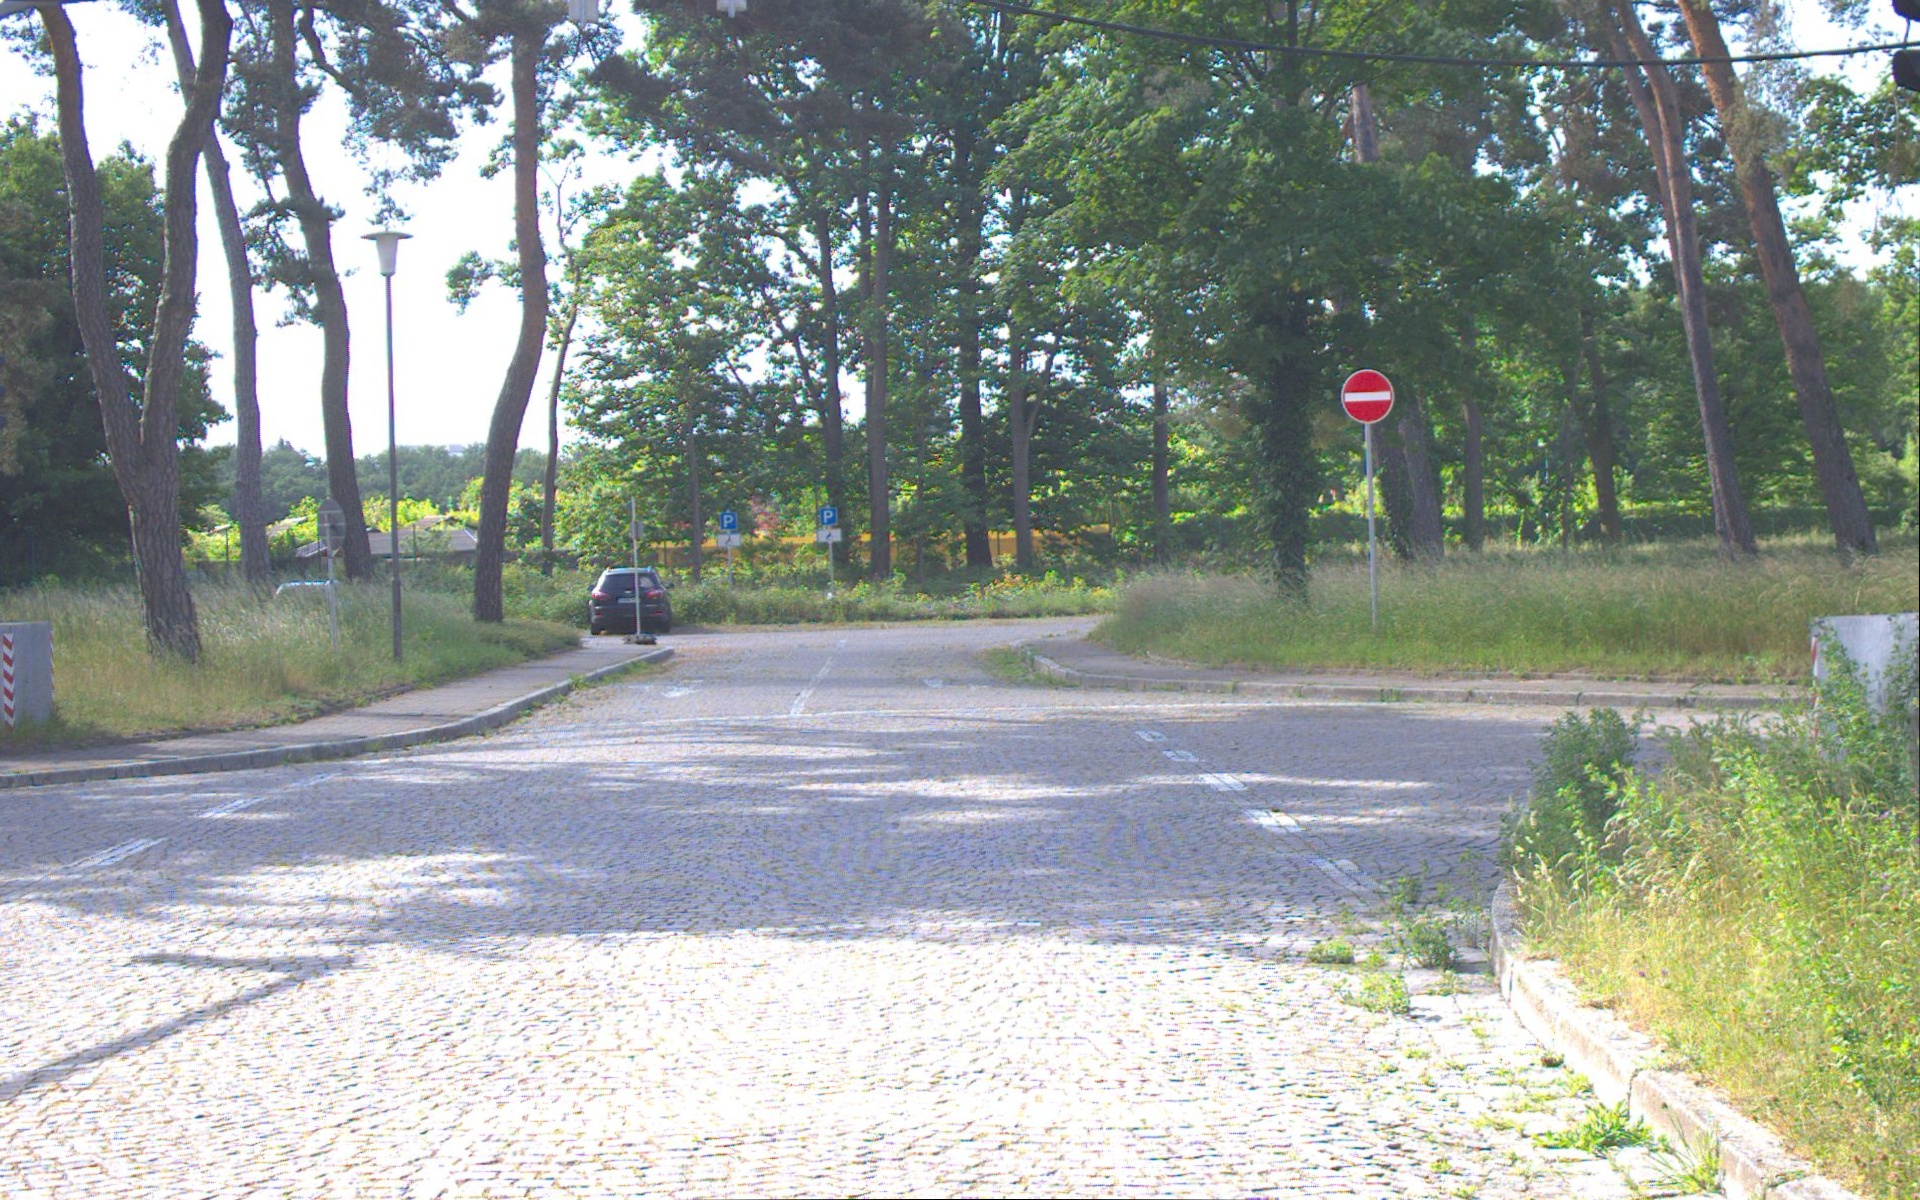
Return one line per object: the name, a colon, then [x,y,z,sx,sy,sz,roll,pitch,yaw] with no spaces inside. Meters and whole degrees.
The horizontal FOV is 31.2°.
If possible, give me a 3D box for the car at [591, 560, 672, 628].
car: [-7.662,-0.155,80.410,1.709,1.491,3.919,-2,1,-3]
